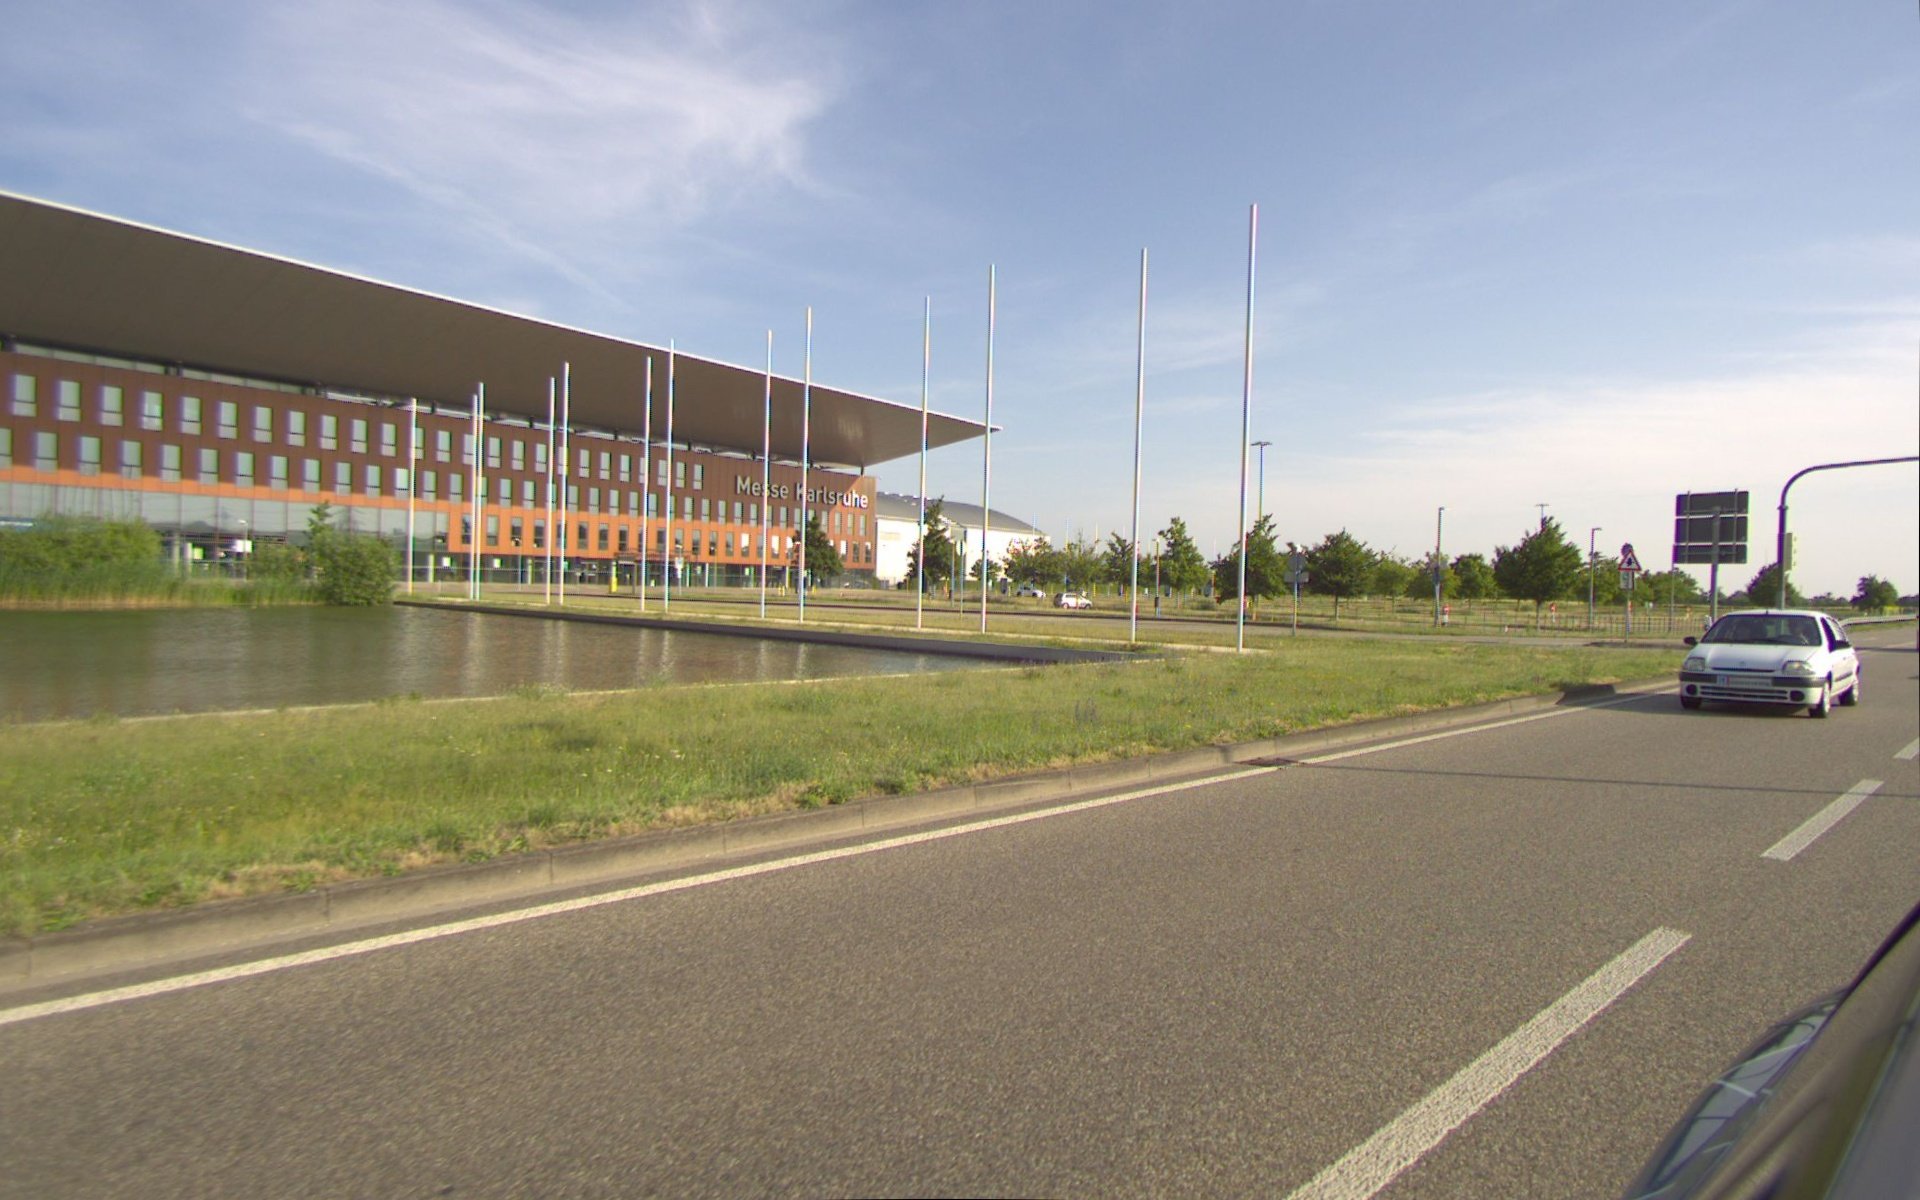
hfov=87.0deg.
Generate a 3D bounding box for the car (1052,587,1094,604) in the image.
[{"bbox_3d":[10.341,-0.380,92.789,3.493,1.473,1.714,1,0,-29],"label":"car"}]

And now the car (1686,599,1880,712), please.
[{"bbox_3d":[11.776,0.709,14.422,3.391,1.396,1.577,1,0,-41],"label":"car"}]

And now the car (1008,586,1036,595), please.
[{"bbox_3d":[9.040,-1.432,146.925,1.461,1.295,4.202,1,0,-43],"label":"car"}]
